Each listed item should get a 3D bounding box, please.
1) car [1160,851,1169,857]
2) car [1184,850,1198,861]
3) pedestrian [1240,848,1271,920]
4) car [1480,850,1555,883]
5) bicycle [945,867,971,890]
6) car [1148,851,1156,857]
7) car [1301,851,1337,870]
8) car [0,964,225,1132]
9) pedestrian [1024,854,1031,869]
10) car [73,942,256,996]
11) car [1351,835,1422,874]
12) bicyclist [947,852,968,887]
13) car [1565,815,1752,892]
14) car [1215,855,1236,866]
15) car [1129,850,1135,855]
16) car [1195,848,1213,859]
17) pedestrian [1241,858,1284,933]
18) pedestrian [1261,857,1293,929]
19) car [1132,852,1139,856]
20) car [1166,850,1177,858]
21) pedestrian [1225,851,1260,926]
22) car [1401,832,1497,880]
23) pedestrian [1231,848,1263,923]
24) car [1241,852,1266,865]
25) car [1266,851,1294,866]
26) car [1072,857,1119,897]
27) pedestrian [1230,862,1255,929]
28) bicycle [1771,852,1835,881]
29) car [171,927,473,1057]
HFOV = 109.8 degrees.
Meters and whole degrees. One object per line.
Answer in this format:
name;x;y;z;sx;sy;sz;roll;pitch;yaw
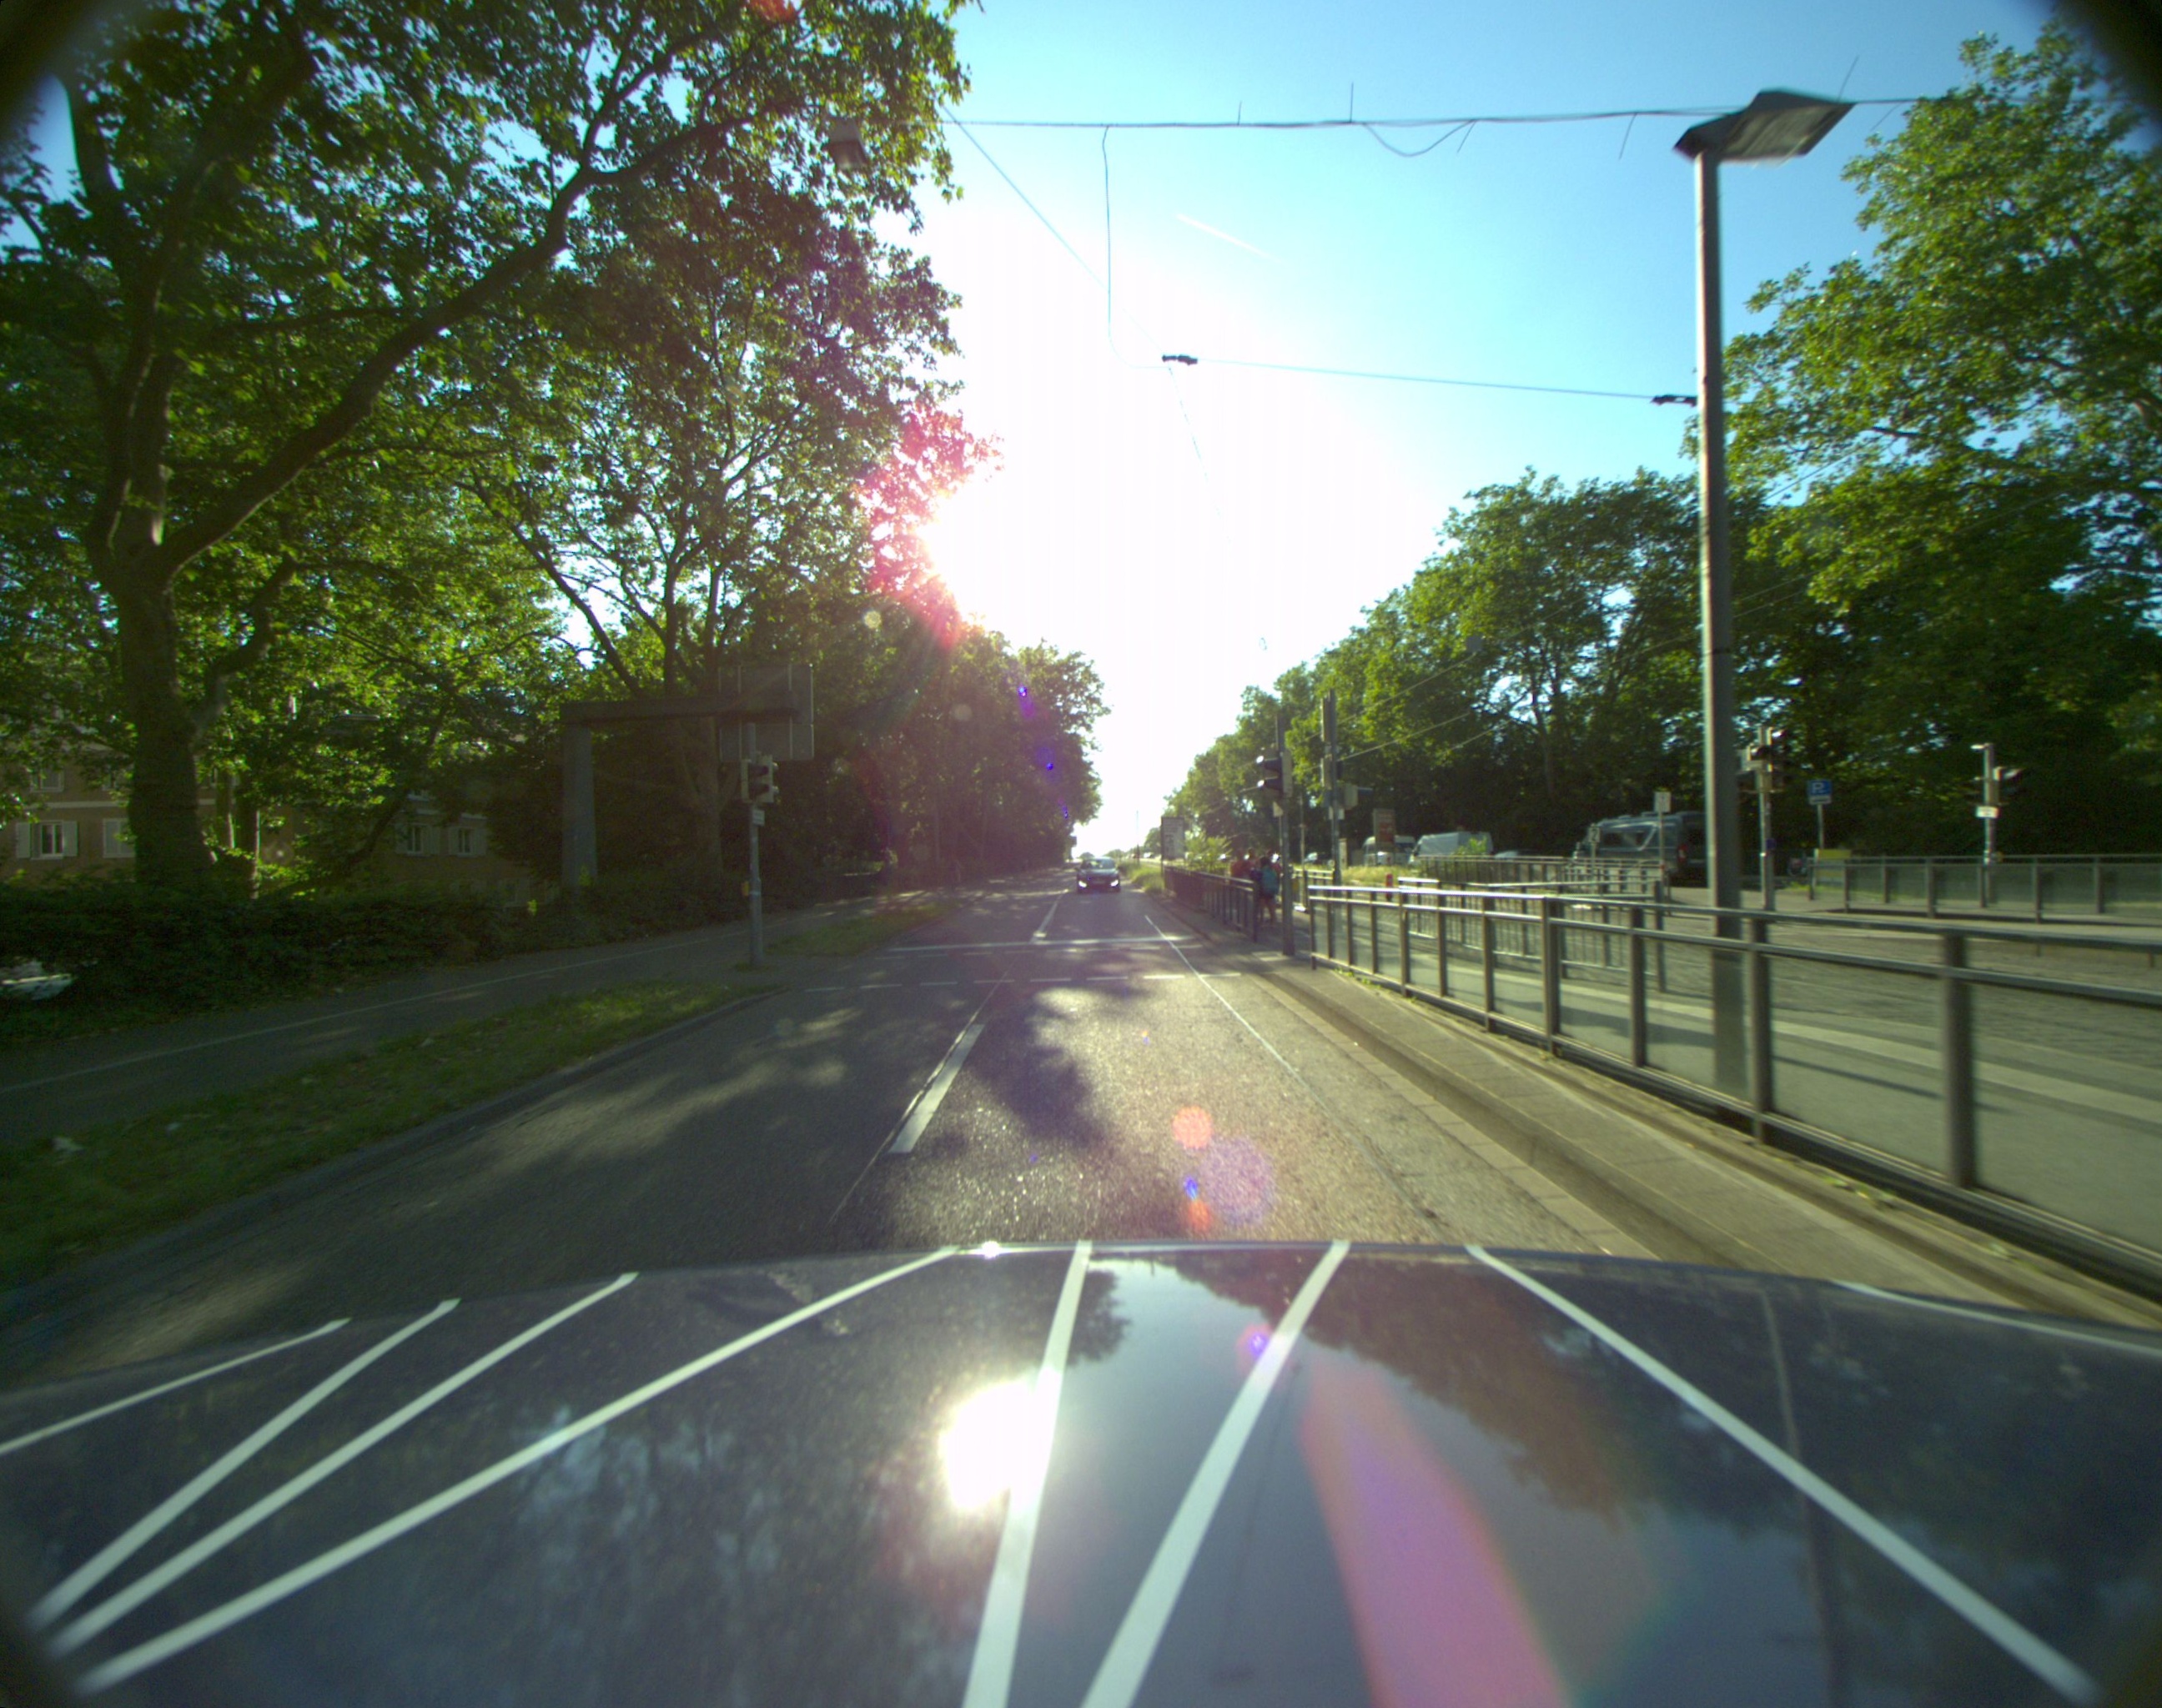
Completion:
car;19.766;-0.044;180.596;1.658;1.491;3.924;0;1;-1
car;19.621;0.244;135.861;1.832;1.830;4.393;0;1;-1
pedestrian;3.833;0.640;16.663;0.520;1.559;0.509;1;1;31
car;20.936;0.585;36.583;1.656;1.504;3.265;0;1;-2
bicycle;-6.156;1.218;38.117;0.700;1.101;1.931;-2;0;8
car;20.263;-0.049;216.911;1.658;1.491;3.924;0;1;0
car;20.257;0.507;64.743;1.743;1.546;3.881;0;1;-1
car;-14.938;2.733;10.299;1.908;1.802;4.099;-3;0;1
pedestrian;-5.857;0.842;83.578;0.649;1.626;0.928;1;1;2
car;-30.060;3.751;24.993;4.147;1.500;1.802;-2;-3;6
car;20.395;0.006;51.045;2.189;2.506;6.049;0;1;-1
bicyclist;-6.175;0.791;38.086;0.700;1.718;1.081;-2;0;8
car;20.871;-0.047;27.941;2.189;2.506;6.031;0;1;-1
car;19.253;0.846;101.293;1.832;1.496;4.393;0;1;-1
car;17.503;-0.467;261.247;1.831;1.841;5.036;0;1;0
car;19.355;-0.040;119.915;1.832;1.709;4.392;0;1;-5
pedestrian;3.479;0.781;14.574;0.592;1.398;0.558;0;1;-20
pedestrian;4.080;0.802;15.826;0.521;1.463;0.514;0;1;2
car;17.469;0.019;242.896;1.925;1.407;4.749;0;1;-1
car;19.572;-0.071;164.048;1.734;1.730;3.899;0;1;-1
pedestrian;3.324;0.704;15.661;0.591;1.510;0.514;0;1;1
car;20.714;0.076;43.144;2.189;2.506;6.269;0;1;-3
pedestrian;3.547;0.659;16.261;0.520;1.559;0.509;1;1;31
car;19.787;0.509;87.467;1.832;1.428;4.323;0;1;-1
car;20.062;0.470;76.824;1.743;1.428;3.851;0;1;-1
car;0.596;0.915;32.055;1.799;1.501;4.000;-3;0;0
pedestrian;3.217;0.824;15.183;0.417;1.313;0.359;0;1;1
bicycle;26.045;0.436;27.436;0.583;1.024;1.863;-1;0;3
car;-15.043;2.640;15.461;1.908;1.802;4.099;-3;0;1
